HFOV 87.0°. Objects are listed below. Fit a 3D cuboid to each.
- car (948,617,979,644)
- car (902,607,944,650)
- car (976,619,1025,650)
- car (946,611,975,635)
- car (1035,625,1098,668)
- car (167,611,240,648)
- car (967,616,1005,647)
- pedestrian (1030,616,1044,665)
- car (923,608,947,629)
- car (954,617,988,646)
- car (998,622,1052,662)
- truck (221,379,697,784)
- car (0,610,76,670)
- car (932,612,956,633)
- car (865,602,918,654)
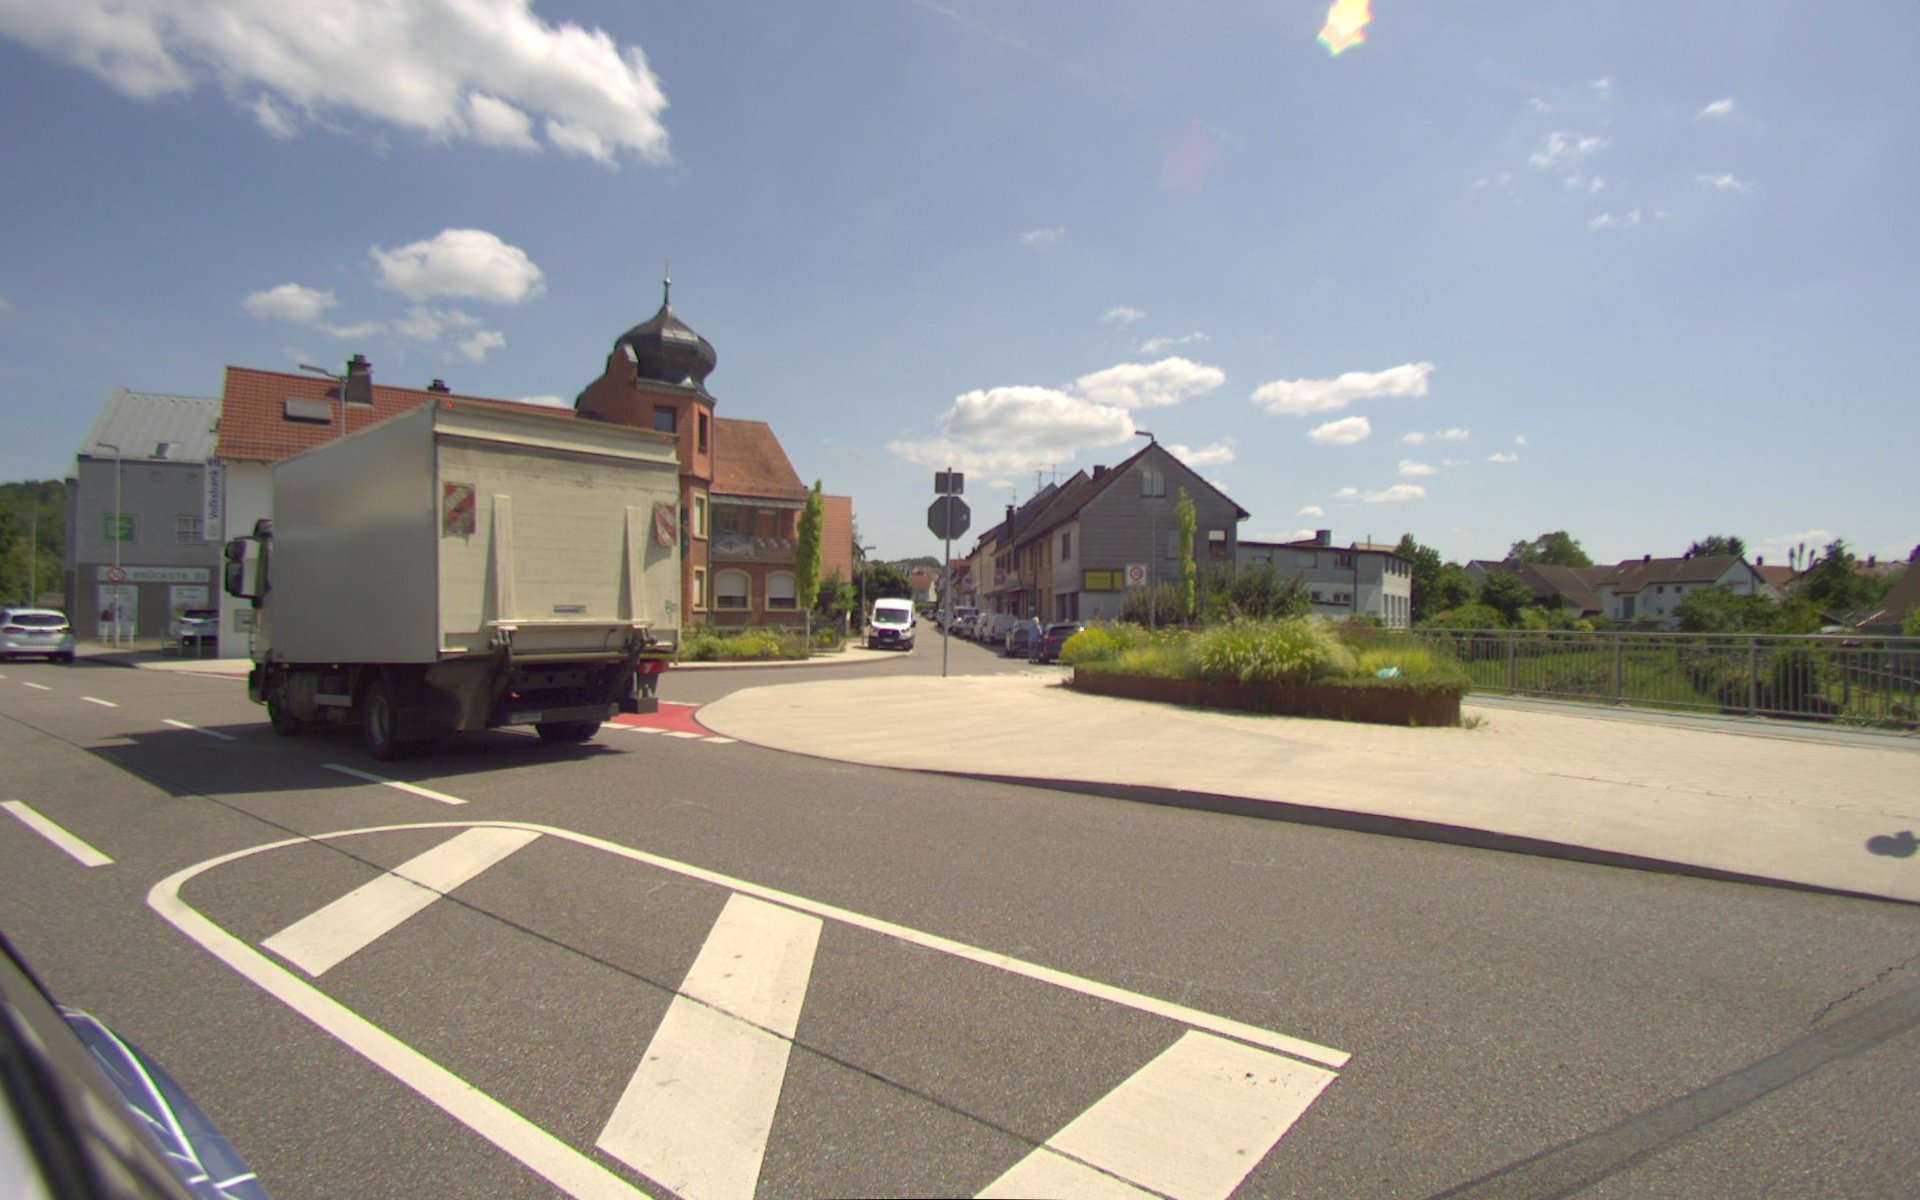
[{"bbox_3d":[0.242,2.224,74.743,1.839,1.864,4.005,2,-1,-6],"label":"car"},{"bbox_3d":[-2.122,1.660,59.276,2.143,2.363,5.110,1,-1,1],"label":"car"},{"bbox_3d":[2.340,1.999,59.492,2.036,1.741,4.008,2,-1,-9],"label":"car"},{"bbox_3d":[0.032,1.812,79.912,1.839,1.864,4.005,2,-1,-6],"label":"car"},{"bbox_3d":[3.852,1.657,37.152,1.835,1.475,4.000,0,-2,-1],"label":"car"},{"bbox_3d":[-34.217,1.359,45.877,1.965,1.587,4.266,2,-2,-28],"label":"car"},{"bbox_3d":[1.626,1.979,64.559,1.894,1.892,4.005,2,-1,-6],"label":"car"},{"bbox_3d":[2.788,1.469,36.788,0.500,1.762,0.614,0,-1,3],"label":"pedestrian"},{"bbox_3d":[-2.654,1.954,106.360,1.968,2.029,4.007,2,-1,-8],"label":"car"},{"bbox_3d":[0.740,2.164,69.977,1.839,1.864,4.005,2,-1,-6],"label":"car"},{"bbox_3d":[2.733,1.758,43.346,1.761,1.559,4.236,2,-1,-3],"label":"car"},{"bbox_3d":[-5.705,-0.086,11.066,6.036,3.260,2.476,-1,-2,40],"label":"truck"},{"bbox_3d":[-28.548,1.162,31.019,4.000,1.662,1.795,0,0,43],"label":"car"},{"bbox_3d":[-1.495,2.046,93.014,1.839,1.864,4.005,2,-1,-6],"label":"car"},{"bbox_3d":[-3.255,1.342,49.074,2.143,2.363,5.110,1,-1,1],"label":"car"}]
